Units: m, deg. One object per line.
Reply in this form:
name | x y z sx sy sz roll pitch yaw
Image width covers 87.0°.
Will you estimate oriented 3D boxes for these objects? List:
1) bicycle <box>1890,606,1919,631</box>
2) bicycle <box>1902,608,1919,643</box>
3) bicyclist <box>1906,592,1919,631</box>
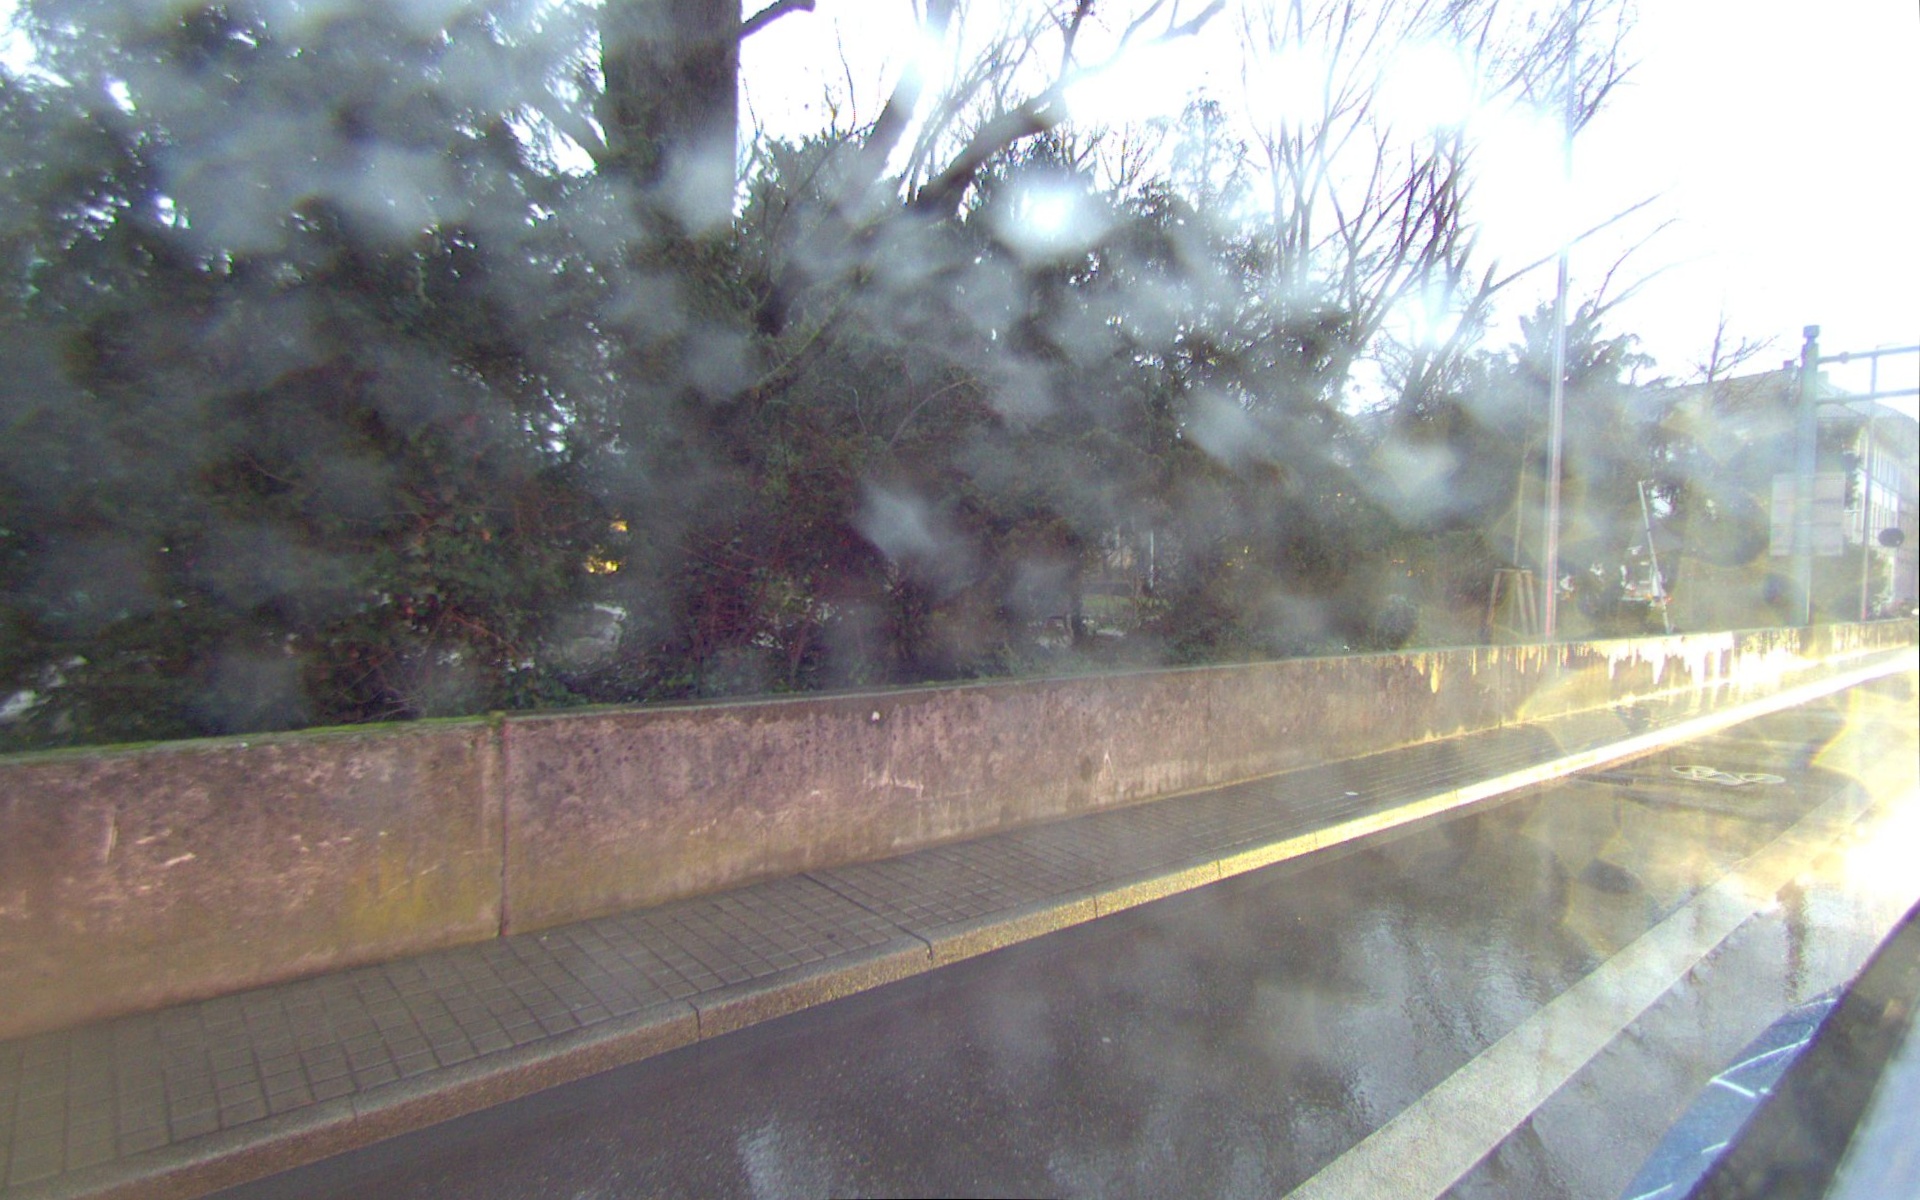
bicycle | 41.711 0.810 44.128 1.716 1.055 0.681 0 0 44
bicycle | 41.155 1.081 41.613 0.949 1.469 3.393 0 0 -29
bicyclist | 41.692 0.498 44.150 0.591 1.706 0.681 0 0 43
